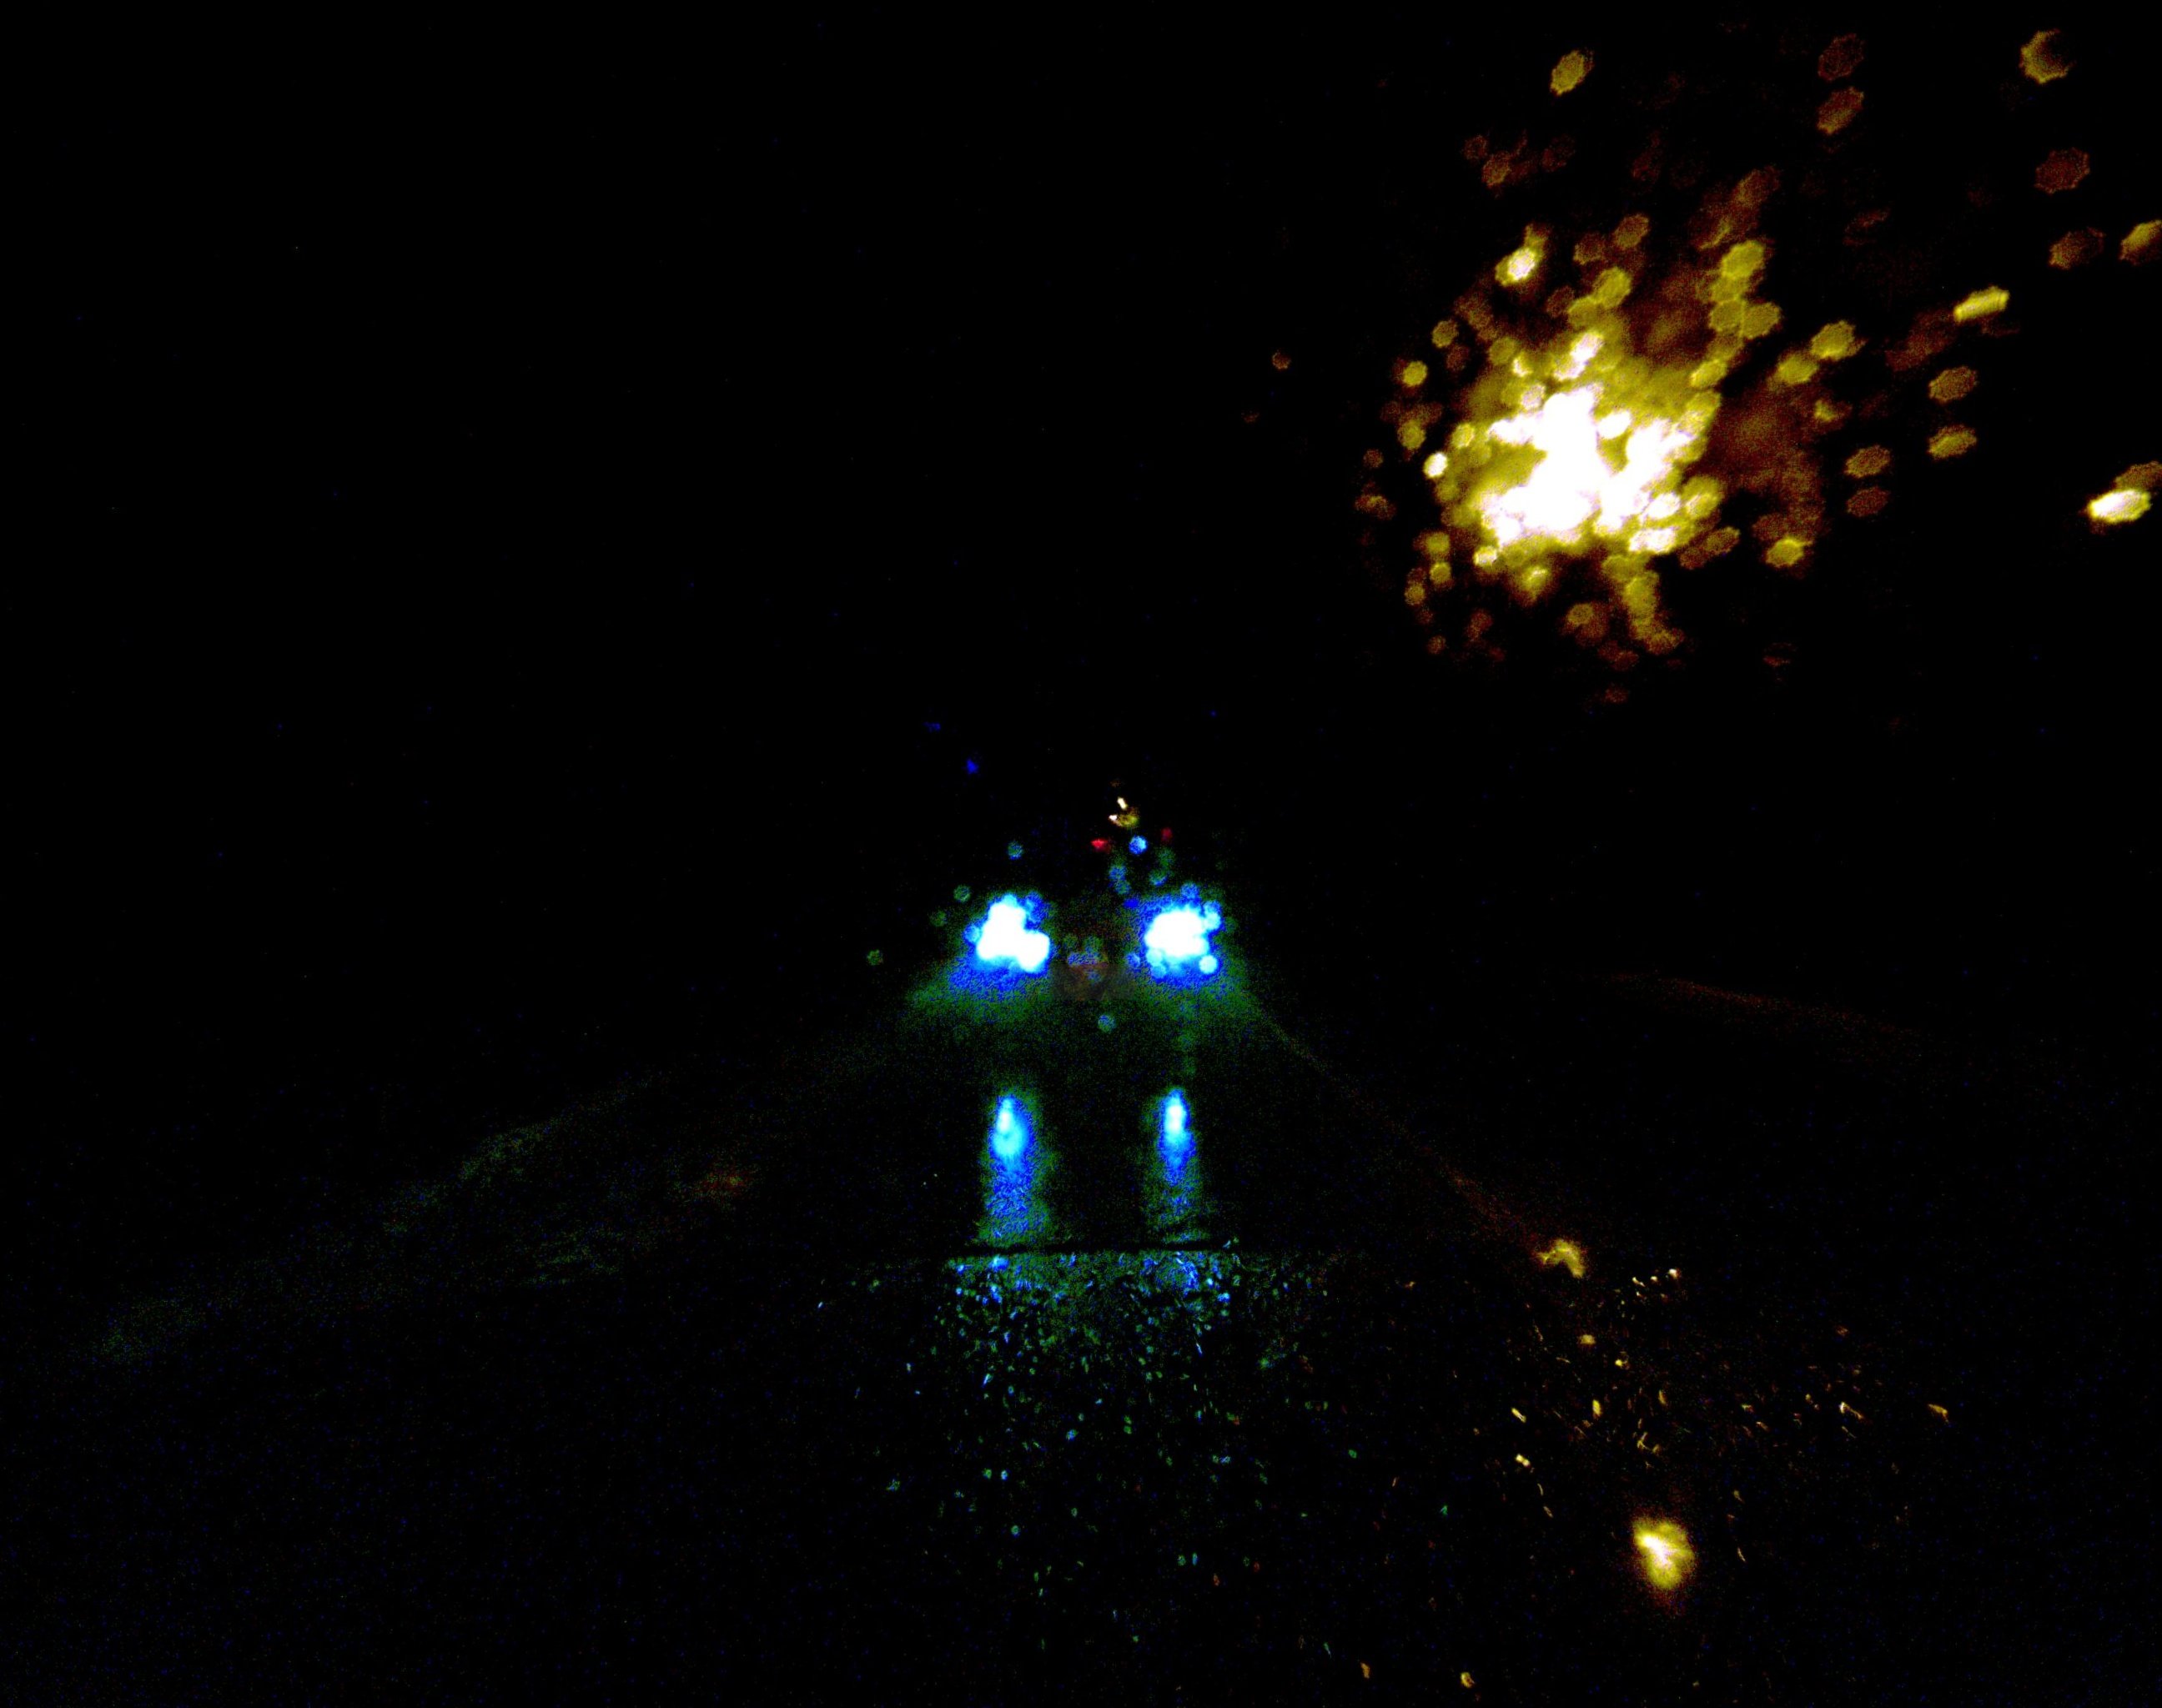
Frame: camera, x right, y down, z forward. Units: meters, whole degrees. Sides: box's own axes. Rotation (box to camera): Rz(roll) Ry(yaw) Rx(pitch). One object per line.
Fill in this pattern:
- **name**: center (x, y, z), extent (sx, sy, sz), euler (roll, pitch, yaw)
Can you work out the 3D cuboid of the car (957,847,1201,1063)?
- **car**: center (0.100, 0.790, 8.183), extent (1.893, 1.678, 4.340), euler (-1, 1, 3)
